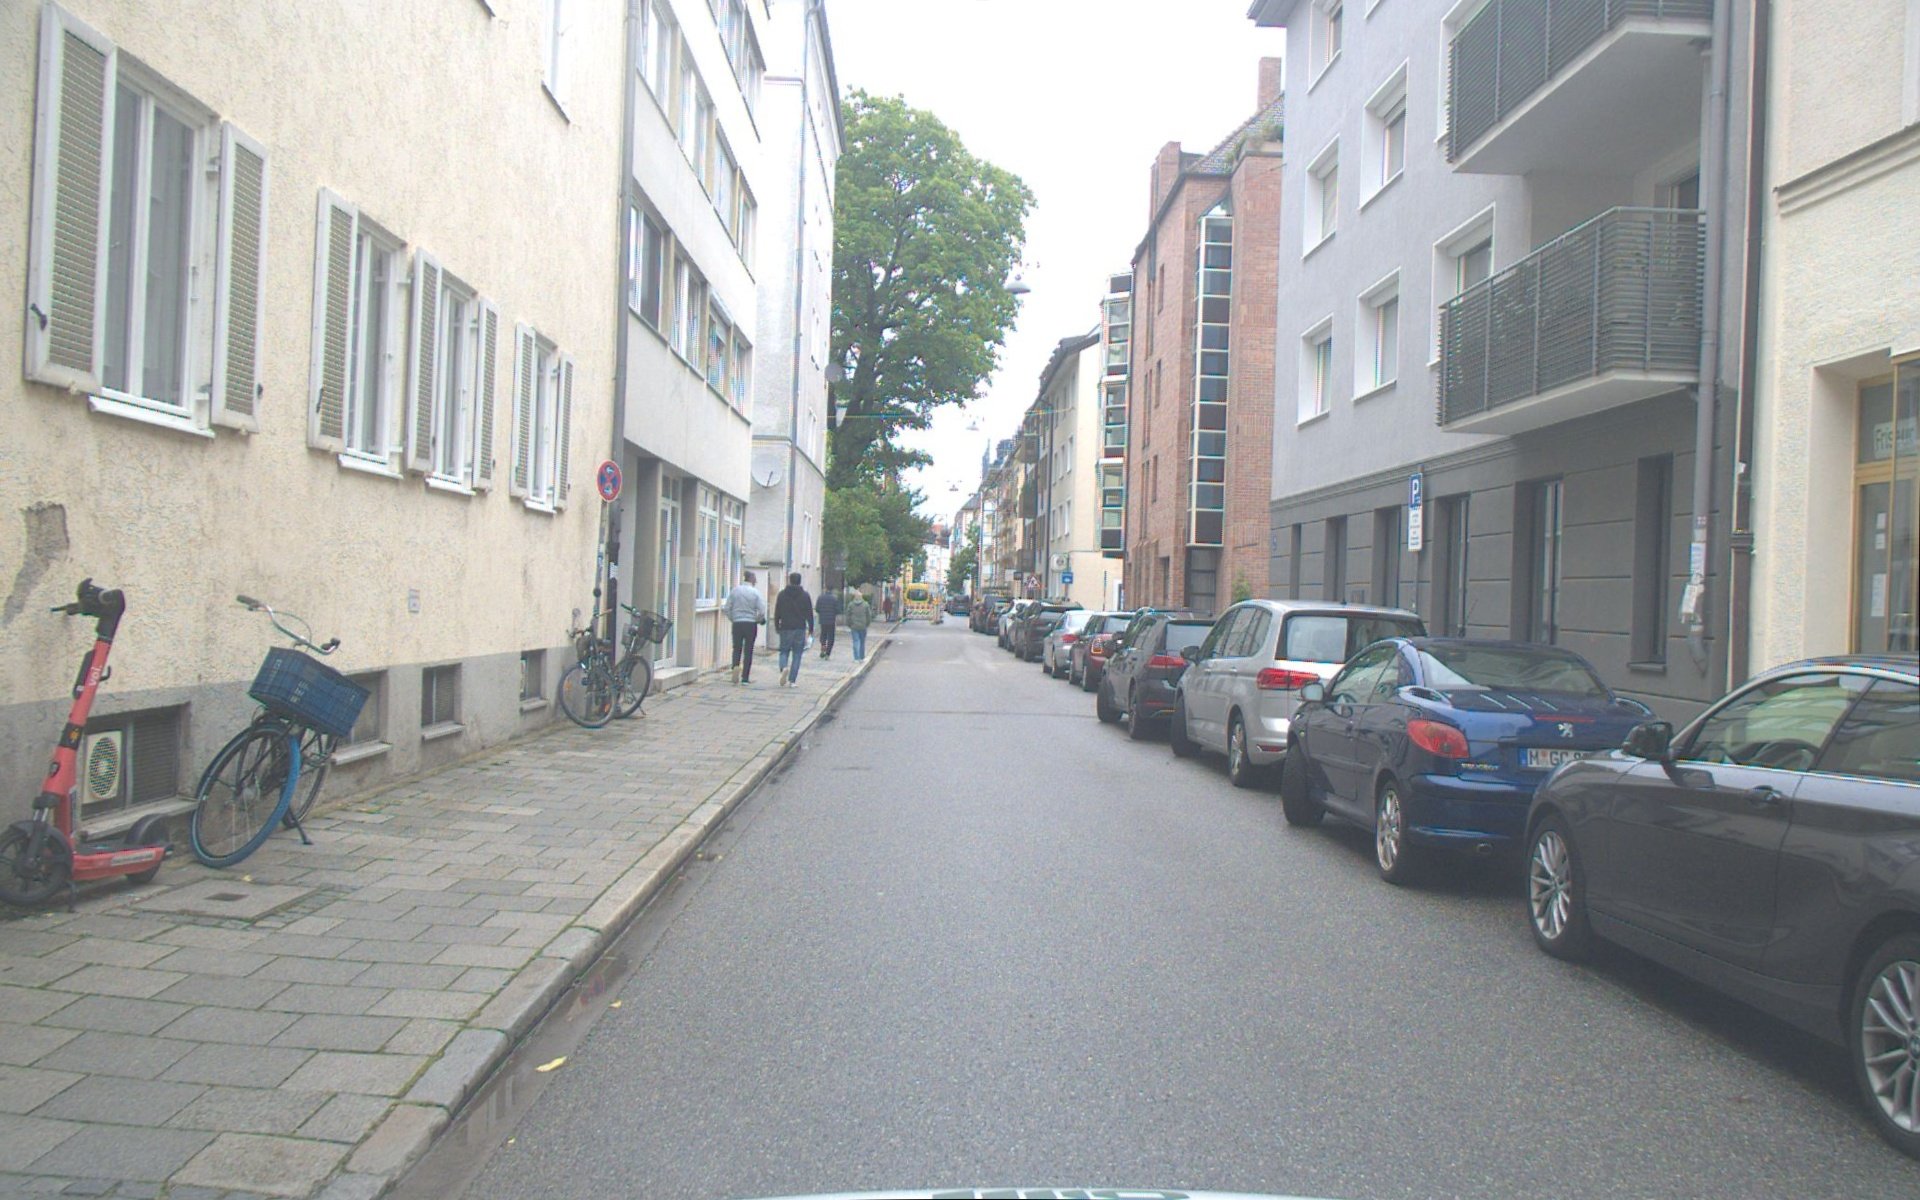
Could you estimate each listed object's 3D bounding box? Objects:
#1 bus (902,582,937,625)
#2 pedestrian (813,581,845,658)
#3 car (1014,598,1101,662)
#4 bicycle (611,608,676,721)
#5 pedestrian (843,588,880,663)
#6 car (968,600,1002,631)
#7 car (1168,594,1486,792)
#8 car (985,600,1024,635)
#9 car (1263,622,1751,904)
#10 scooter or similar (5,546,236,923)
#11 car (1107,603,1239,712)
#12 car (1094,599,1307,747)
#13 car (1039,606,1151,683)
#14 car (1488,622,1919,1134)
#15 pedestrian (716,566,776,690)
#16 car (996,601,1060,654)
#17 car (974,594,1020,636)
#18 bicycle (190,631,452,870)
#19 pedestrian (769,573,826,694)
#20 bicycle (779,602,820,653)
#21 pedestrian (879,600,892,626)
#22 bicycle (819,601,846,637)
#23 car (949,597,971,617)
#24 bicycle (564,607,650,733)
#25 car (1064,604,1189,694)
[{"bbox_3d":[-3.080,0.308,127.302,2.540,3.156,6.304,1,-1,-1],"label":"bus"},{"bbox_3d":[-3.075,0.454,38.949,0.600,1.743,0.823,4,-1,-2],"label":"pedestrian"},{"bbox_3d":[2.613,0.776,45.273,1.848,1.582,4.388,2,0,-3],"label":"car"},{"bbox_3d":[-3.497,0.690,18.385,0.551,1.180,1.718,2,-1,-7],"label":"bicycle"},{"bbox_3d":[-2.321,0.603,39.062,0.738,1.688,0.906,4,-1,-1],"label":"pedestrian"},{"bbox_3d":[1.386,0.854,93.614,1.603,1.541,3.828,5,0,-2],"label":"car"},{"bbox_3d":[3.248,0.756,15.536,1.838,1.598,4.313,1,0,-3],"label":"car"},{"bbox_3d":[2.050,0.802,77.386,1.592,1.513,3.807,3,0,-1],"label":"car"},{"bbox_3d":[3.224,0.877,10.615,1.771,1.387,3.944,1,0,-1],"label":"car"},{"bbox_3d":[-3.405,0.507,6.797,0.311,1.400,1.238,1,-1,-1],"label":"scooter or similar"},{"bbox_3d":[3.278,0.851,25.973,1.491,1.538,3.201,2,0,-2],"label":"car"},{"bbox_3d":[2.829,0.812,20.411,1.803,1.555,4.291,2,0,-2],"label":"car"},{"bbox_3d":[2.815,0.901,35.429,1.800,1.442,4.599,2,0,-2],"label":"car"},{"bbox_3d":[3.584,0.833,6.087,1.763,1.410,4.347,1,0,-2],"label":"car"},{"bbox_3d":[-3.279,0.421,25.362,0.704,1.828,0.916,3,-1,-1],"label":"pedestrian"},{"bbox_3d":[2.244,0.888,55.763,1.714,1.658,4.194,1,0,-4],"label":"car"},{"bbox_3d":[1.799,0.701,81.741,1.766,1.851,3.997,5,0,-3],"label":"car"},{"bbox_3d":[-3.221,0.714,8.533,0.690,1.001,1.820,6,-1,-5],"label":"bicycle"},{"bbox_3d":[-2.507,0.515,25.630,0.704,1.796,0.838,3,-1,-1],"label":"pedestrian"},{"bbox_3d":[-4.024,0.680,41.338,0.632,1.239,1.655,1,-1,-20],"label":"bicycle"},{"bbox_3d":[-4.390,0.793,97.459,0.740,1.517,0.831,1,-1,-1],"label":"pedestrian"},{"bbox_3d":[-4.322,0.633,55.943,0.465,1.130,1.751,2,0,-18],"label":"bicycle"},{"bbox_3d":[-0.031,0.627,159.493,1.766,1.741,3.824,5,0,-3],"label":"car"},{"bbox_3d":[-3.537,0.675,16.668,0.449,1.179,1.605,4,-1,0],"label":"bicycle"},{"bbox_3d":[3.036,0.860,30.835,1.710,1.487,4.148,2,0,-2],"label":"car"}]
